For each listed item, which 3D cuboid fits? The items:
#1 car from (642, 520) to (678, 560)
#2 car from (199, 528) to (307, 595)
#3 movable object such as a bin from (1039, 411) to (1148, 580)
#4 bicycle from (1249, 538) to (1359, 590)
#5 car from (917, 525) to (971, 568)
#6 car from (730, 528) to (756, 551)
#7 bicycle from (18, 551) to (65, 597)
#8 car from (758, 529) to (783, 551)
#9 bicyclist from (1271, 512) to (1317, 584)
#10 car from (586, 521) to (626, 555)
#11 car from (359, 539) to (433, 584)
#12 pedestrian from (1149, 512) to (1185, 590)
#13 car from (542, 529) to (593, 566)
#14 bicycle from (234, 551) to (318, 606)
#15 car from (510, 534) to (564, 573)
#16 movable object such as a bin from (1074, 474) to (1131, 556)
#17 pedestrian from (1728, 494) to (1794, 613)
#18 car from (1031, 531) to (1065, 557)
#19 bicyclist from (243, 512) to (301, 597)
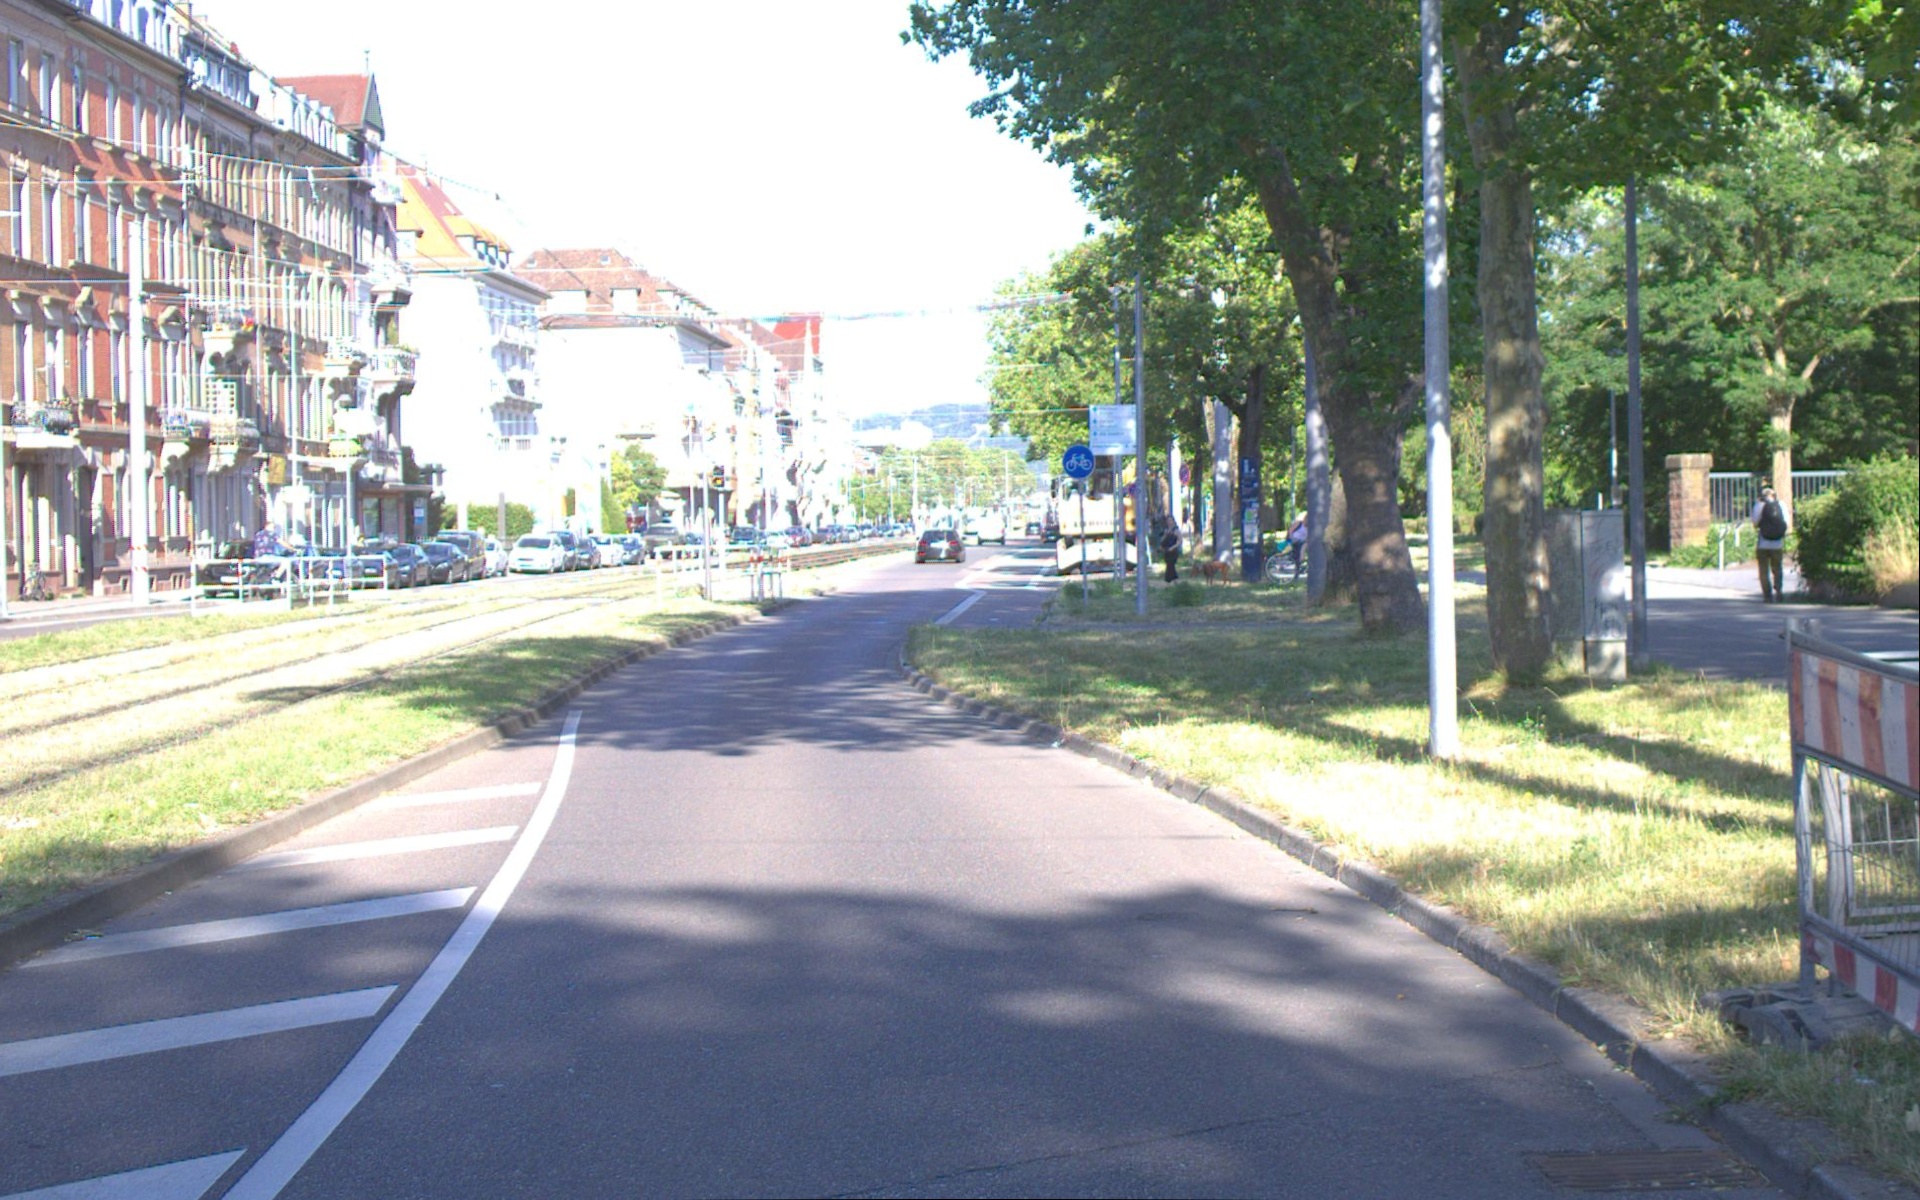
[{"bbox_3d":[-16.893,-3.378,193.709,1.658,2.132,3.525,1,2,2],"label":"car"},{"bbox_3d":[-20.227,-1.119,98.512,2.015,1.748,4.558,1,2,2],"label":"car"},{"bbox_3d":[4.279,-3.361,111.666,3.087,5.071,8.892,-4,1,2],"label":"movable object such as a bin"},{"bbox_3d":[7.276,-0.772,72.779,2.260,1.037,0.766,-1,2,3],"label":"bicycle"},{"bbox_3d":[-0.621,-2.191,139.291,1.994,1.678,4.000,1,1,2],"label":"car"},{"bbox_3d":[-14.961,-4.179,237.214,1.527,1.555,3.223,1,2,2],"label":"car"},{"bbox_3d":[-24.060,-0.695,90.089,0.699,1.176,1.751,1,1,2],"label":"bicycle"},{"bbox_3d":[-14.000,-4.441,254.120,1.527,1.555,3.223,1,2,2],"label":"car"},{"bbox_3d":[7.063,-1.111,72.779,0.903,1.491,0.766,-1,2,3],"label":"bicyclist"},{"bbox_3d":[-17.452,-3.063,169.468,1.527,1.555,3.223,1,2,2],"label":"car"},{"bbox_3d":[-19.268,-1.336,117.578,1.776,1.401,3.909,1,2,2],"label":"car"},{"bbox_3d":[4.475,-1.064,74.402,0.660,1.641,0.862,-3,1,3],"label":"pedestrian"},{"bbox_3d":[-17.512,-2.347,153.441,1.741,1.555,3.768,1,2,2],"label":"car"},{"bbox_3d":[-14.145,-0.457,71.157,0.765,1.037,1.958,0,3,21],"label":"bicycle"},{"bbox_3d":[-18.284,-2.036,148.720,1.741,1.555,3.768,1,2,2],"label":"car"},{"bbox_3d":[5.519,-3.291,133.729,1.968,3.002,4.796,-4,1,2],"label":"movable object such as a bin"},{"bbox_3d":[10.518,-0.613,45.165,0.650,1.534,0.783,-2,1,2],"label":"pedestrian"},{"bbox_3d":[6.400,-4.096,250.175,1.993,1.853,4.001,1,1,-4],"label":"car"},{"bbox_3d":[-14.210,-0.937,71.010,0.765,1.709,0.921,0,3,21],"label":"bicyclist"}]
